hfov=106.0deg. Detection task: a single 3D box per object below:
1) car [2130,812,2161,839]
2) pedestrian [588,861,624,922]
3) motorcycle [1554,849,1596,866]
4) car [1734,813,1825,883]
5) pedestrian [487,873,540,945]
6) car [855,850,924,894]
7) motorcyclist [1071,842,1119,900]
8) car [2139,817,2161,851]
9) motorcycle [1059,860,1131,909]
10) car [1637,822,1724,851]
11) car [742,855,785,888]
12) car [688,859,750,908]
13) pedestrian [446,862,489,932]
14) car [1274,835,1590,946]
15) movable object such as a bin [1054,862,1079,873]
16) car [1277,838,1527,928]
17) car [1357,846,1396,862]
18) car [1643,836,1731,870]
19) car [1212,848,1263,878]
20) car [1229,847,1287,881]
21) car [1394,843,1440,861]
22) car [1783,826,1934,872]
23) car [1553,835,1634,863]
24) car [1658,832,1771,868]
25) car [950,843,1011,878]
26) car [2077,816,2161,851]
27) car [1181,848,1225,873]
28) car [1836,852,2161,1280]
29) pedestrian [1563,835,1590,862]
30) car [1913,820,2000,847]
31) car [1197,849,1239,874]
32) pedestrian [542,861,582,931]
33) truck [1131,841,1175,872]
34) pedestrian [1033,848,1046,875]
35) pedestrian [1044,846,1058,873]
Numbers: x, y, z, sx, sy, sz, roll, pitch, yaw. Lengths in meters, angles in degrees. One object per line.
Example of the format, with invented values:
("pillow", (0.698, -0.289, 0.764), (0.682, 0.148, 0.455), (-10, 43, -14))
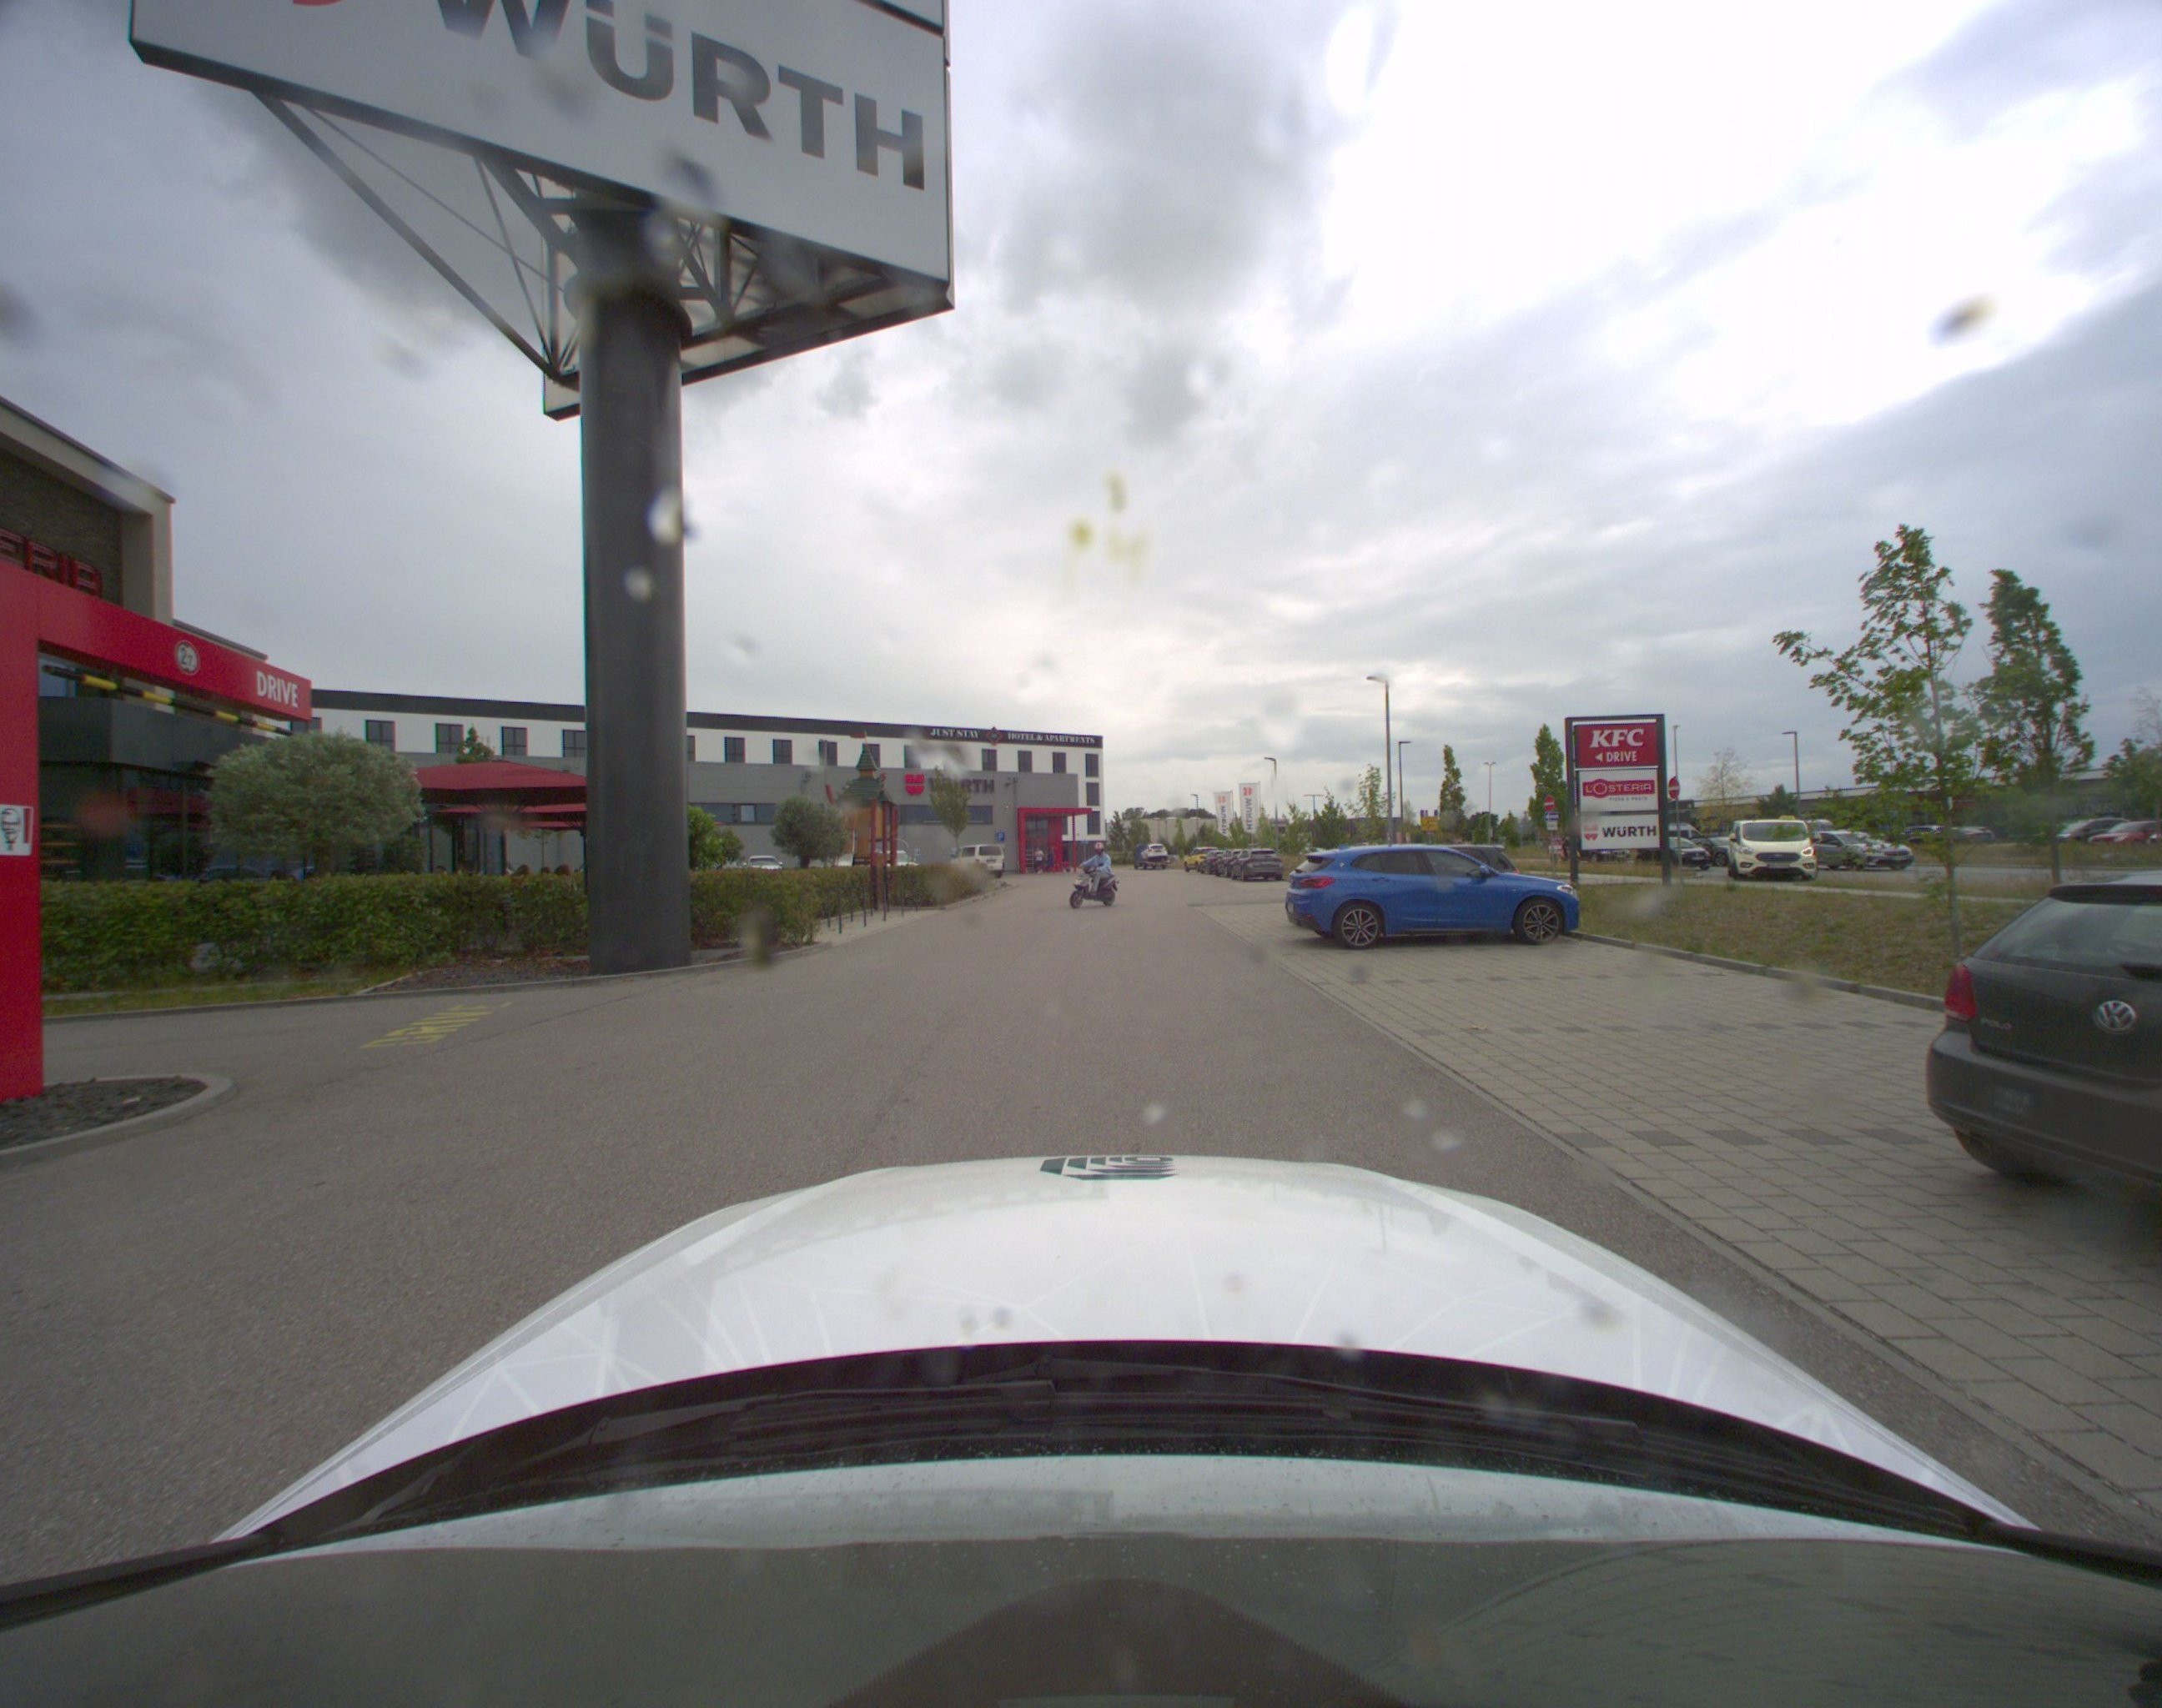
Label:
("car", (76.436, -2.042, 56.417), (1.996, 1.837, 4.168), (-3, 0, -13))
("pedestrian", (-14.179, 1.097, 24.341), (0.743, 1.748, 0.699), (-3, 0, -22))
("motorcycle", (25.055, 0.173, 41.337), (0.812, 0.773, 2.024), (-3, 1, -4))
("car", (22.909, -0.239, 26.879), (1.974, 2.086, 5.264), (-2, 1, 38))
("pedestrian", (-14.328, 1.379, 20.568), (0.737, 1.748, 0.705), (-3, 0, 5))
("car", (-8.210, 0.755, 34.640), (2.003, 1.650, 4.541), (-3, 0, -24))
("motorcyclist", (0.368, 0.450, 21.924), (0.946, 1.489, 0.820), (-1, -1, -42))
("car", (51.713, -1.019, 37.364), (4.051, 1.501, 1.863), (-3, 0, -3))
("motorcycle", (0.395, 0.801, 21.898), (0.785, 1.208, 1.933), (-3, -1, 45))
("car", (51.217, -1.495, 69.662), (5.557, 2.122, 2.341), (-3, 0, 2))
("car", (-17.050, 0.938, 43.632), (1.746, 1.552, 4.227), (-3, 0, -26))
("car", (-14.114, 1.120, 31.854), (2.003, 1.650, 4.541), (-3, 0, -24))
("pedestrian", (-10.871, 0.744, 14.442), (0.420, 1.199, 0.454), (-3, 0, -14))
("car", (5.361, 0.540, 12.882), (4.185, 1.544, 1.866), (-1, 0, 2))
("movable object such as a bin", (-1.038, 0.959, 57.126), (1.494, 0.704, 0.958), (0, -1, -22))
("car", (5.948, 0.509, 15.485), (4.043, 1.459, 1.778), (-2, 1, 4))
("car", (26.938, -0.003, 74.343), (1.758, 1.395, 4.554), (-2, 0, -2))
("car", (25.749, -0.032, 34.702), (1.456, 1.337, 3.164), (-2, 0, 2))
("car", (8.238, 0.465, 43.205), (1.747, 1.469, 4.473), (-1, 0, -2))
("car", (8.046, 0.435, 37.425), (1.745, 1.469, 4.476), (-1, 0, 1))
("car", (31.424, -0.171, 76.260), (1.795, 1.552, 4.842), (-3, 0, -7))
("car", (28.390, -0.181, 29.935), (1.816, 1.459, 4.003), (-3, 0, 3))
("car", (28.403, -0.269, 45.306), (1.758, 1.395, 4.215), (-2, 0, -2))
("car", (28.774, -0.171, 37.189), (1.844, 1.499, 4.285), (-2, 0, 1))
("car", (-6.013, 0.403, 48.300), (2.069, 1.855, 4.021), (-5, 1, -31))
("car", (51.880, -1.026, 39.974), (4.038, 1.539, 1.903), (-3, 0, -7))
("car", (8.364, 0.447, 56.089), (1.856, 1.650, 3.986), (0, -1, -10))
("car", (5.605, 0.705, 3.057), (3.974, 1.428, 1.727), (0, 0, 0))
("pedestrian", (25.050, -0.298, 41.179), (0.802, 1.281, 0.898), (-1, 5, -3))
("car", (68.284, -1.593, 63.624), (1.998, 1.837, 4.163), (-3, 0, -17))
("car", (8.307, 0.447, 49.589), (1.747, 1.469, 4.104), (-1, 0, -2))
("pedestrian", (-9.185, 0.734, 14.417), (0.420, 1.199, 0.454), (-3, 0, -14))
("truck", (6.286, 0.261, 72.548), (2.329, 2.407, 7.876), (0, -3, -7))
("pedestrian", (-2.755, 0.493, 53.778), (0.625, 1.751, 0.900), (-1, 0, -17))
("pedestrian", (-2.080, 0.352, 55.582), (0.679, 1.802, 0.874), (-1, 0, -21))
